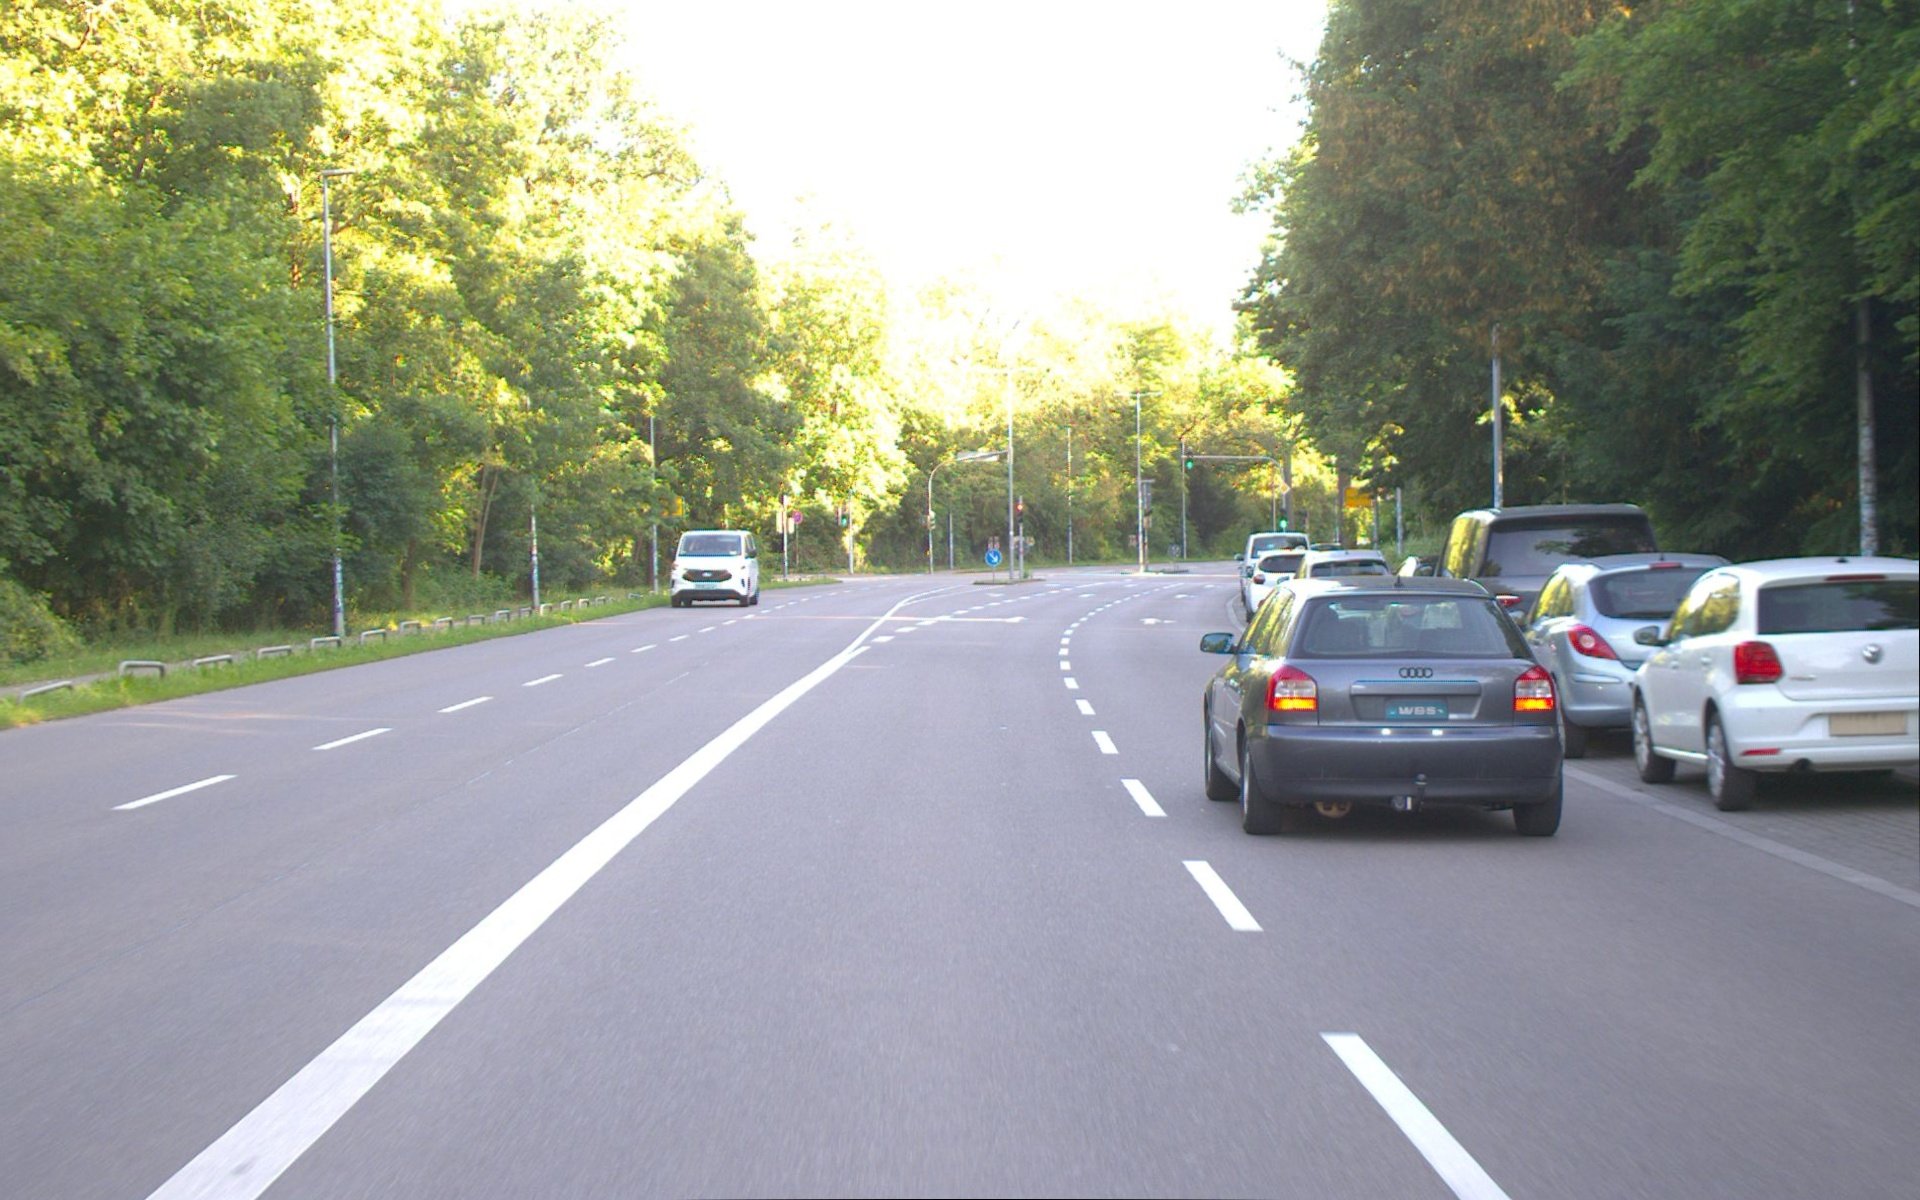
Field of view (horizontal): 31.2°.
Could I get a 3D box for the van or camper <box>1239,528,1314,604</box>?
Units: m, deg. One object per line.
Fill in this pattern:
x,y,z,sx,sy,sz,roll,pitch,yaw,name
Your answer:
8.431,-0.933,91.812,1.832,1.963,5.341,0,1,4,van or camper

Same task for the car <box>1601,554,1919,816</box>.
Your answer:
5.226,0.454,21.497,1.728,1.436,4.100,-1,1,1,car

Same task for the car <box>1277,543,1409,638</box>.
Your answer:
6.047,-0.182,54.686,1.728,1.436,4.666,0,1,2,car

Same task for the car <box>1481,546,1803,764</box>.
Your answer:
5.180,0.359,26.617,1.728,1.538,4.217,0,1,1,car

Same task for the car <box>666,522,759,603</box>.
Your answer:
-6.381,-0.953,88.977,1.993,1.985,4.998,2,0,0,car

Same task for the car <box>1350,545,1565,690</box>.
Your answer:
5.552,0.143,38.899,1.838,1.436,4.957,-2,1,2,car

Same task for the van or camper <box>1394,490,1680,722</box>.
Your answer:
5.356,0.002,32.548,1.893,1.942,5.134,-2,1,1,van or camper

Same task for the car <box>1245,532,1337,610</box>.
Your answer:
6.659,-0.607,69.443,1.728,1.517,4.089,0,1,4,car

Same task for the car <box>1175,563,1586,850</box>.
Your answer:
2.290,0.527,19.726,1.727,1.436,4.090,0,1,-2,car
